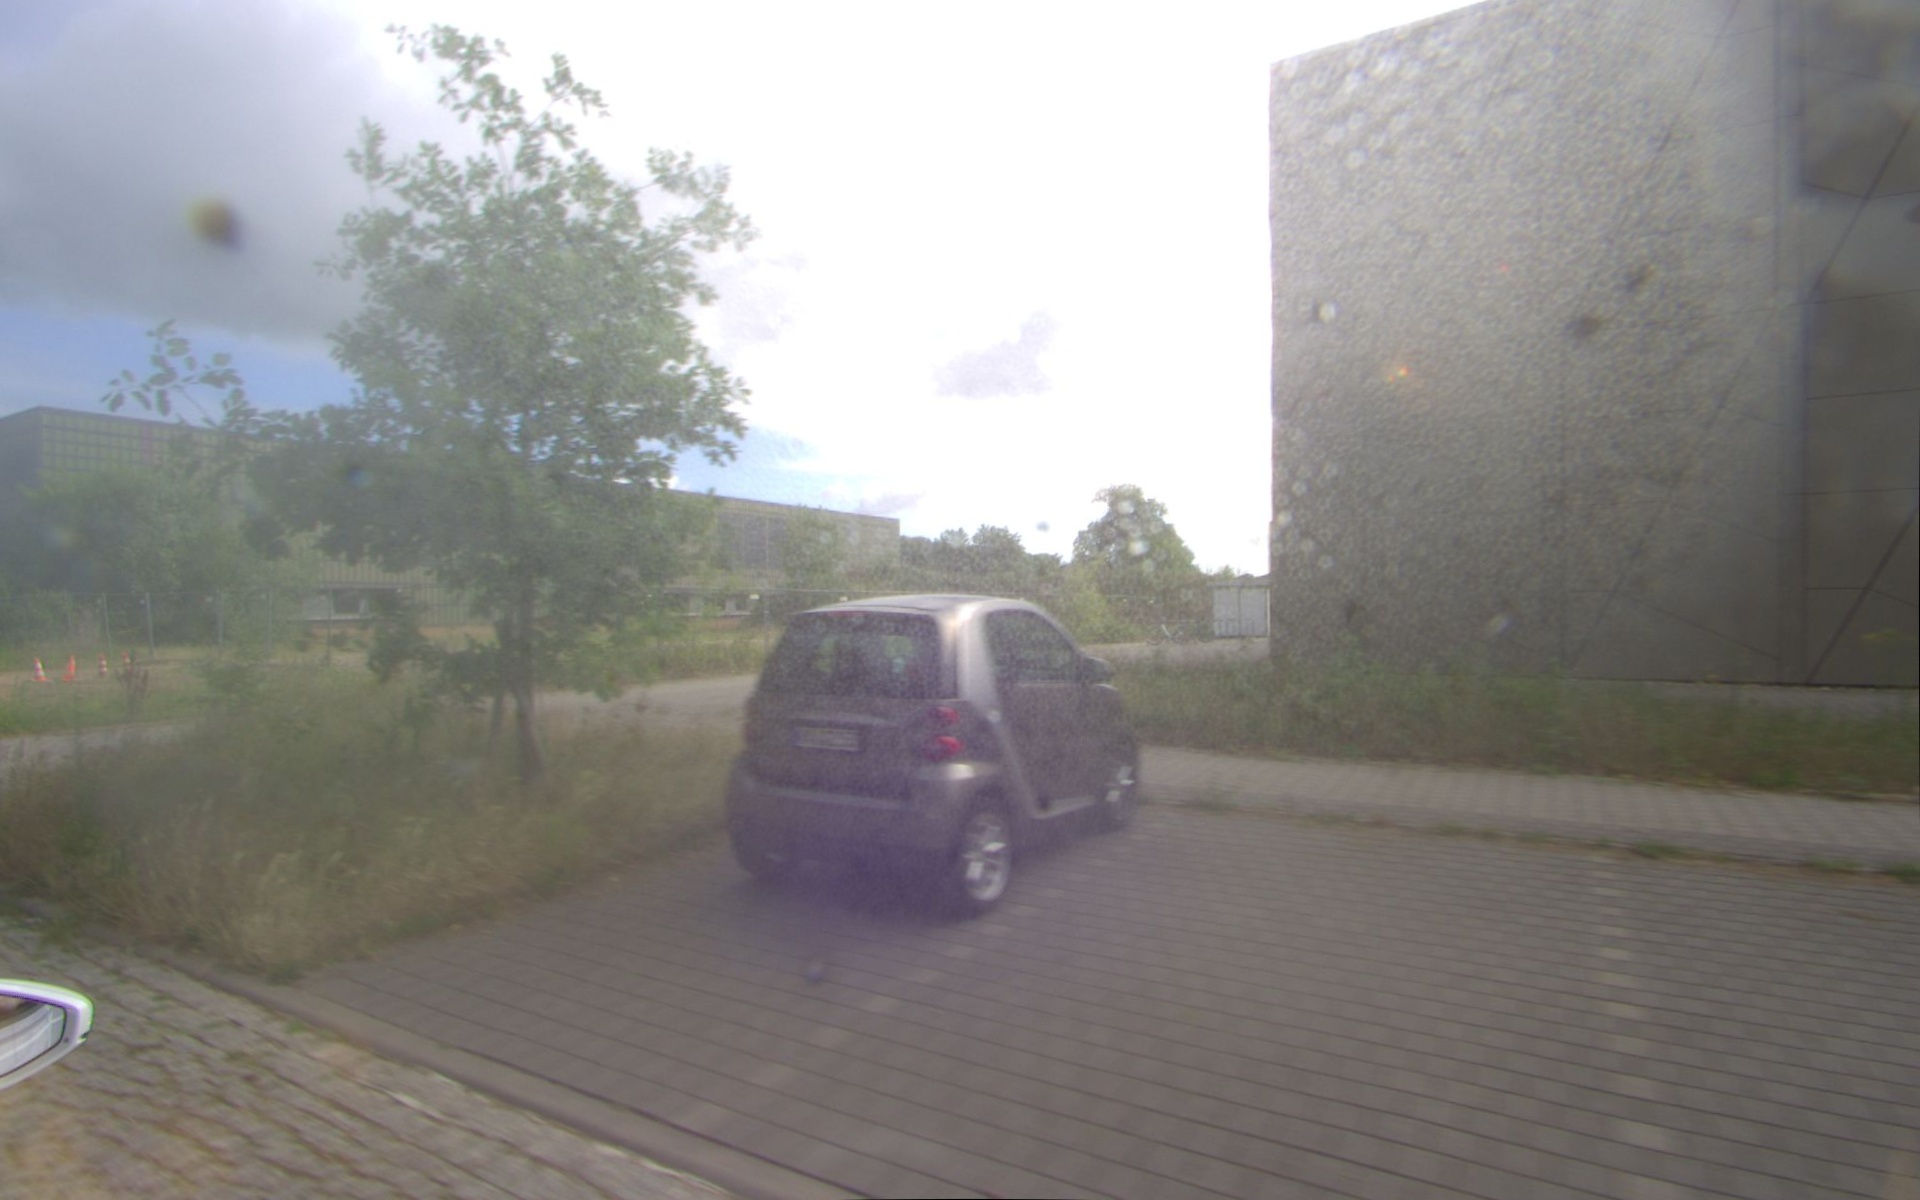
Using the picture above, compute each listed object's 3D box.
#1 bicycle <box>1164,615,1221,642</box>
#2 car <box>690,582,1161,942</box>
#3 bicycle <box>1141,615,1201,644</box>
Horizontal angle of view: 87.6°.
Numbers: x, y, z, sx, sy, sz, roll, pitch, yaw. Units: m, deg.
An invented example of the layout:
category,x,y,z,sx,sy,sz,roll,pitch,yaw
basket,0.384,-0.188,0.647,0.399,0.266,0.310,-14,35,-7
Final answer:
category,x,y,z,sx,sy,sz,roll,pitch,yaw
bicycle,8.904,1.092,38.299,1.961,1.038,0.832,-1,-1,34
car,-0.033,0.726,6.159,1.658,1.604,2.735,0,2,31
bicycle,7.699,1.062,36.568,1.961,1.038,0.832,-1,-1,34
